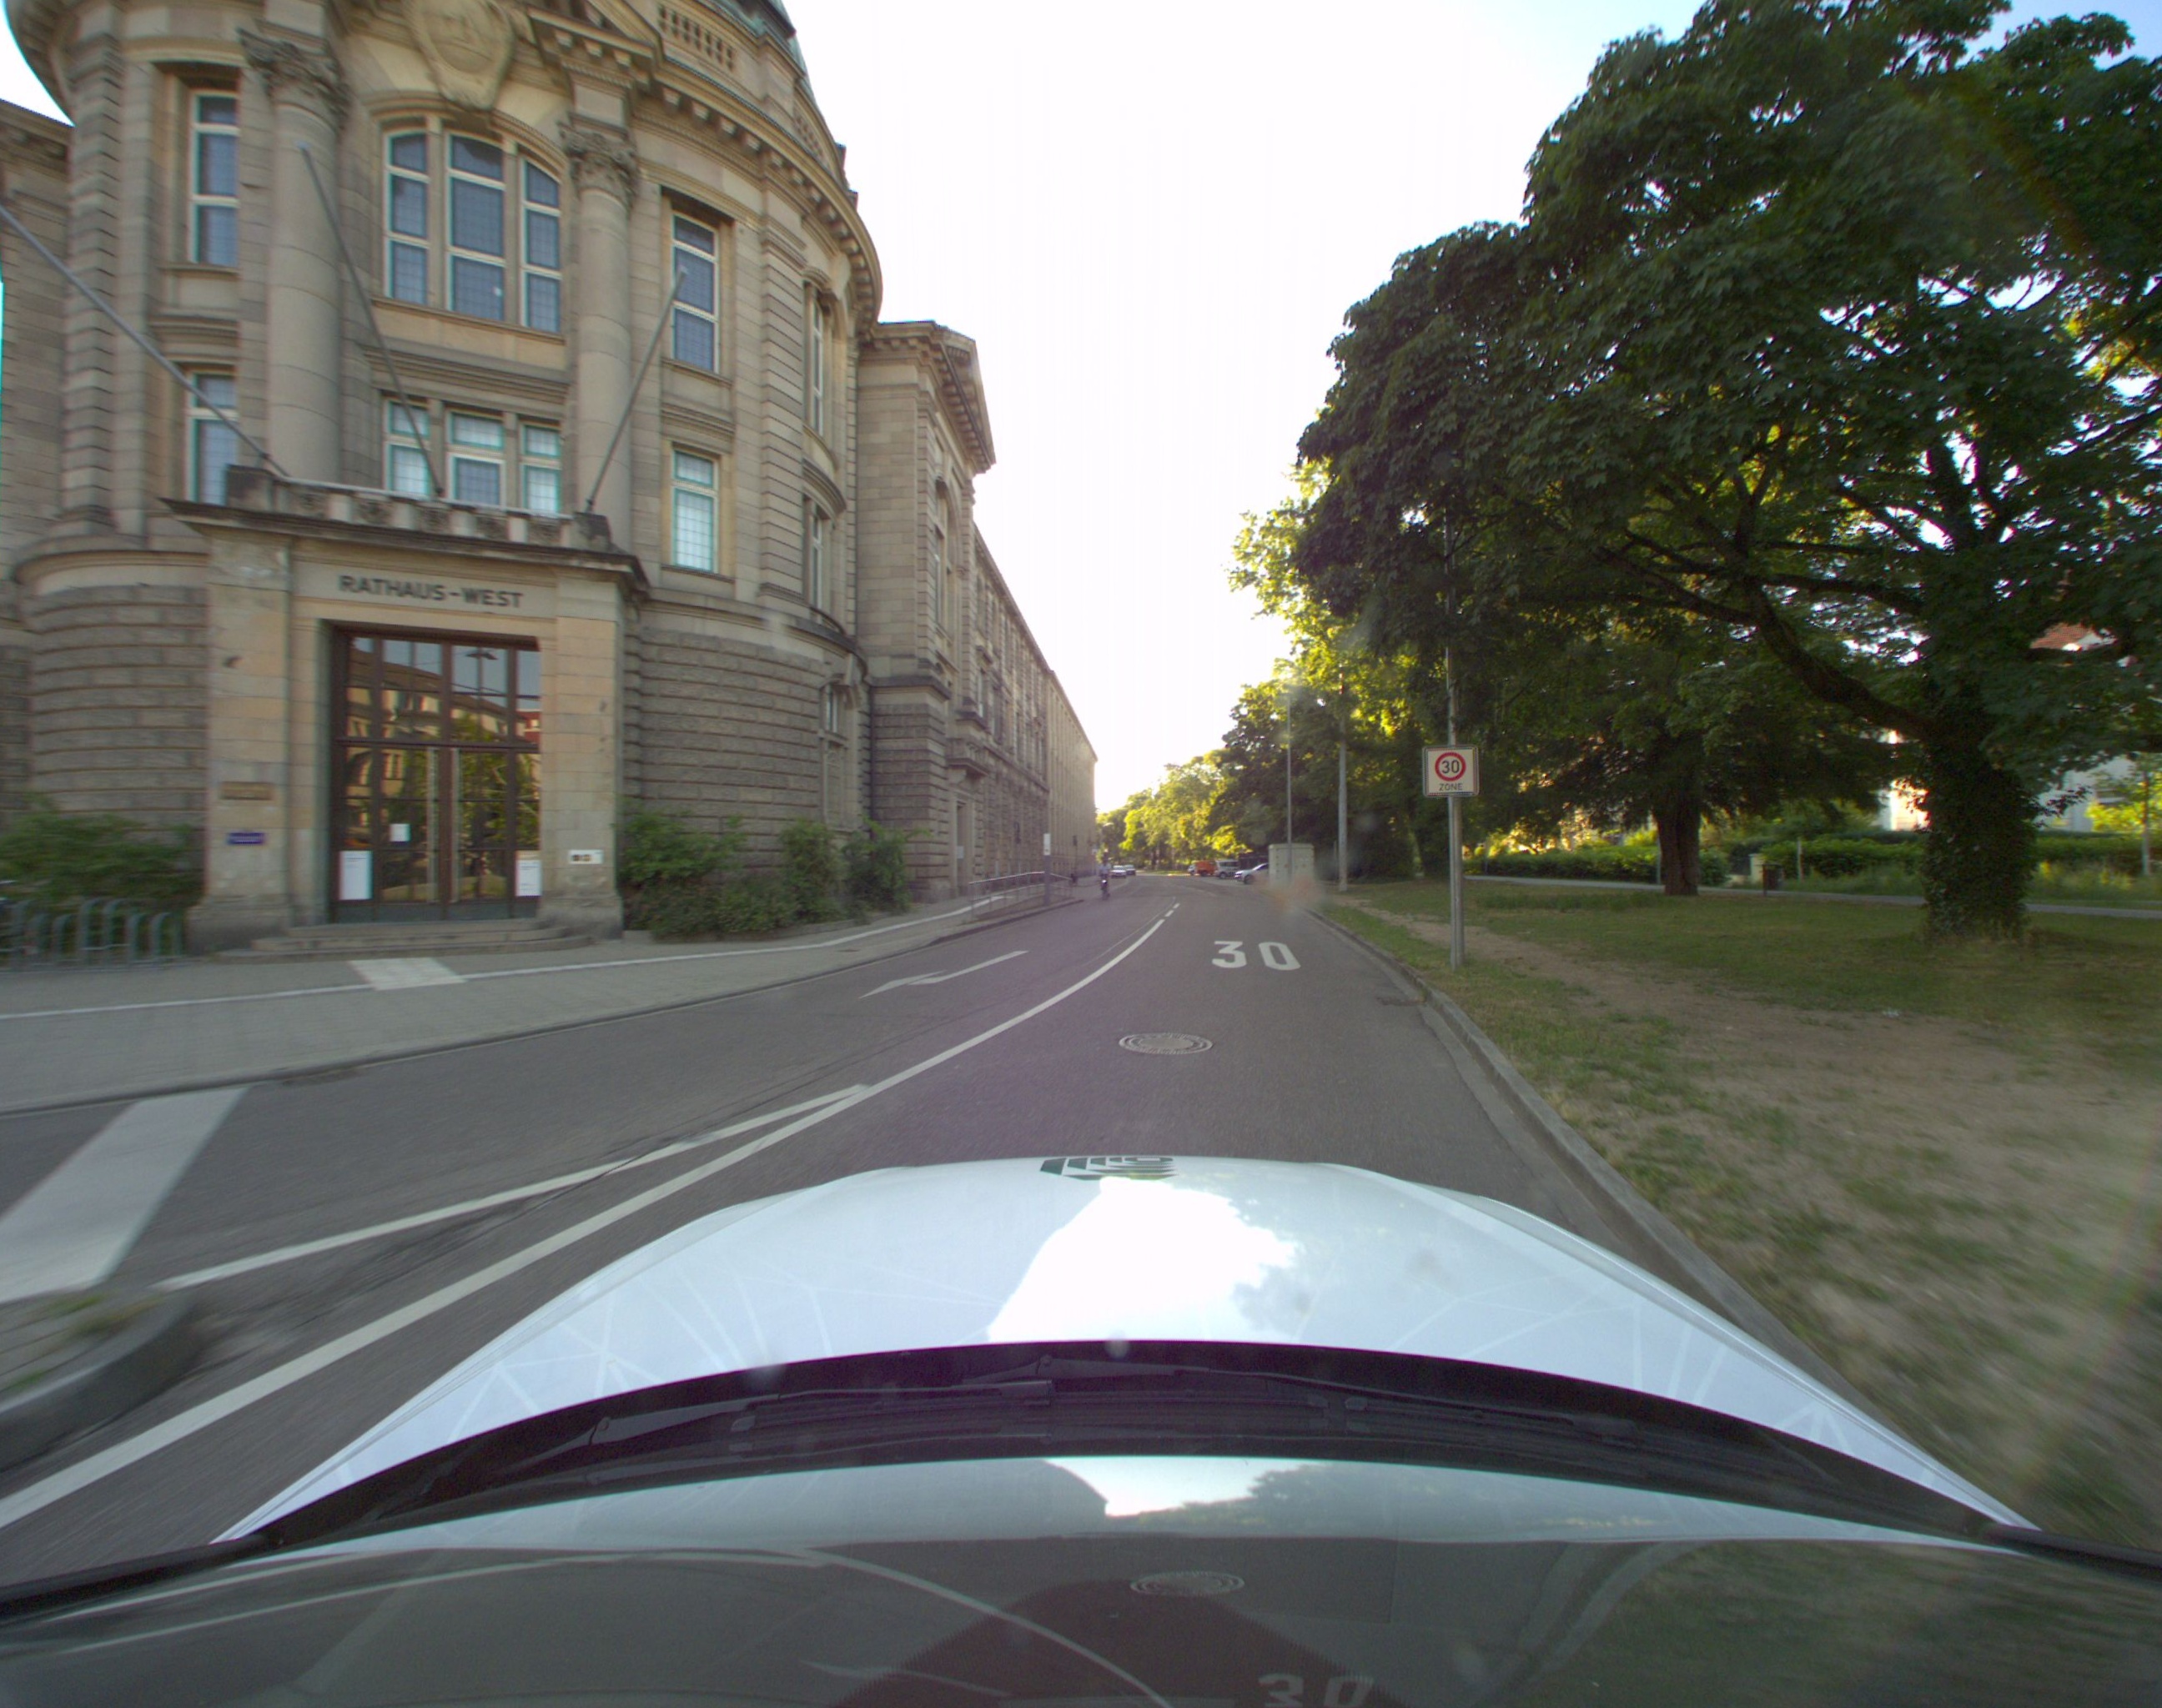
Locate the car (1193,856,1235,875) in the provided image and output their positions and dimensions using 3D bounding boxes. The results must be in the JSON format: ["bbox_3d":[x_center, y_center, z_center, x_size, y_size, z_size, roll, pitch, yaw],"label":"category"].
[{"bbox_3d":[16.156,1.380,98.992,4.807,2.014,1.800,-2,-1,-3],"label":"car"}]

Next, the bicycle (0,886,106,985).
[{"bbox_3d":[-14.219,1.056,10.732,0.871,1.196,2.221,-1,-1,-25],"label":"bicycle"}]

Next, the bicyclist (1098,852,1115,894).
[{"bbox_3d":[1.126,0.841,35.656,0.642,1.807,0.782,-1,-1,6],"label":"bicyclist"}]

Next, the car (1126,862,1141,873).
[{"bbox_3d":[7.338,1.924,113.663,1.872,1.466,4.374,-1,0,2],"label":"car"}]

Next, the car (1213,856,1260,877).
[{"bbox_3d":[15.177,1.258,79.657,4.208,1.860,2.003,-2,-2,5],"label":"car"}]

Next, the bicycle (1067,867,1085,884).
[{"bbox_3d":[-0.345,1.389,53.296,0.847,1.101,1.986,1,-1,8],"label":"bicycle"}]

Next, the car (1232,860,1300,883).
[{"bbox_3d":[13.027,1.252,57.514,4.422,1.469,1.784,-2,-1,3],"label":"car"}]

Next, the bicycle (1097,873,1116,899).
[{"bbox_3d":[1.130,1.378,35.589,0.659,1.070,2.157,-1,-1,7],"label":"bicycle"}]

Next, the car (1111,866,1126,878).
[{"bbox_3d":[4.421,2.114,96.343,1.721,1.397,4.374,0,-1,2],"label":"car"}]

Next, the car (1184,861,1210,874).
[{"bbox_3d":[15.565,1.813,109.225,3.136,1.503,1.539,-2,-1,-3],"label":"car"}]
